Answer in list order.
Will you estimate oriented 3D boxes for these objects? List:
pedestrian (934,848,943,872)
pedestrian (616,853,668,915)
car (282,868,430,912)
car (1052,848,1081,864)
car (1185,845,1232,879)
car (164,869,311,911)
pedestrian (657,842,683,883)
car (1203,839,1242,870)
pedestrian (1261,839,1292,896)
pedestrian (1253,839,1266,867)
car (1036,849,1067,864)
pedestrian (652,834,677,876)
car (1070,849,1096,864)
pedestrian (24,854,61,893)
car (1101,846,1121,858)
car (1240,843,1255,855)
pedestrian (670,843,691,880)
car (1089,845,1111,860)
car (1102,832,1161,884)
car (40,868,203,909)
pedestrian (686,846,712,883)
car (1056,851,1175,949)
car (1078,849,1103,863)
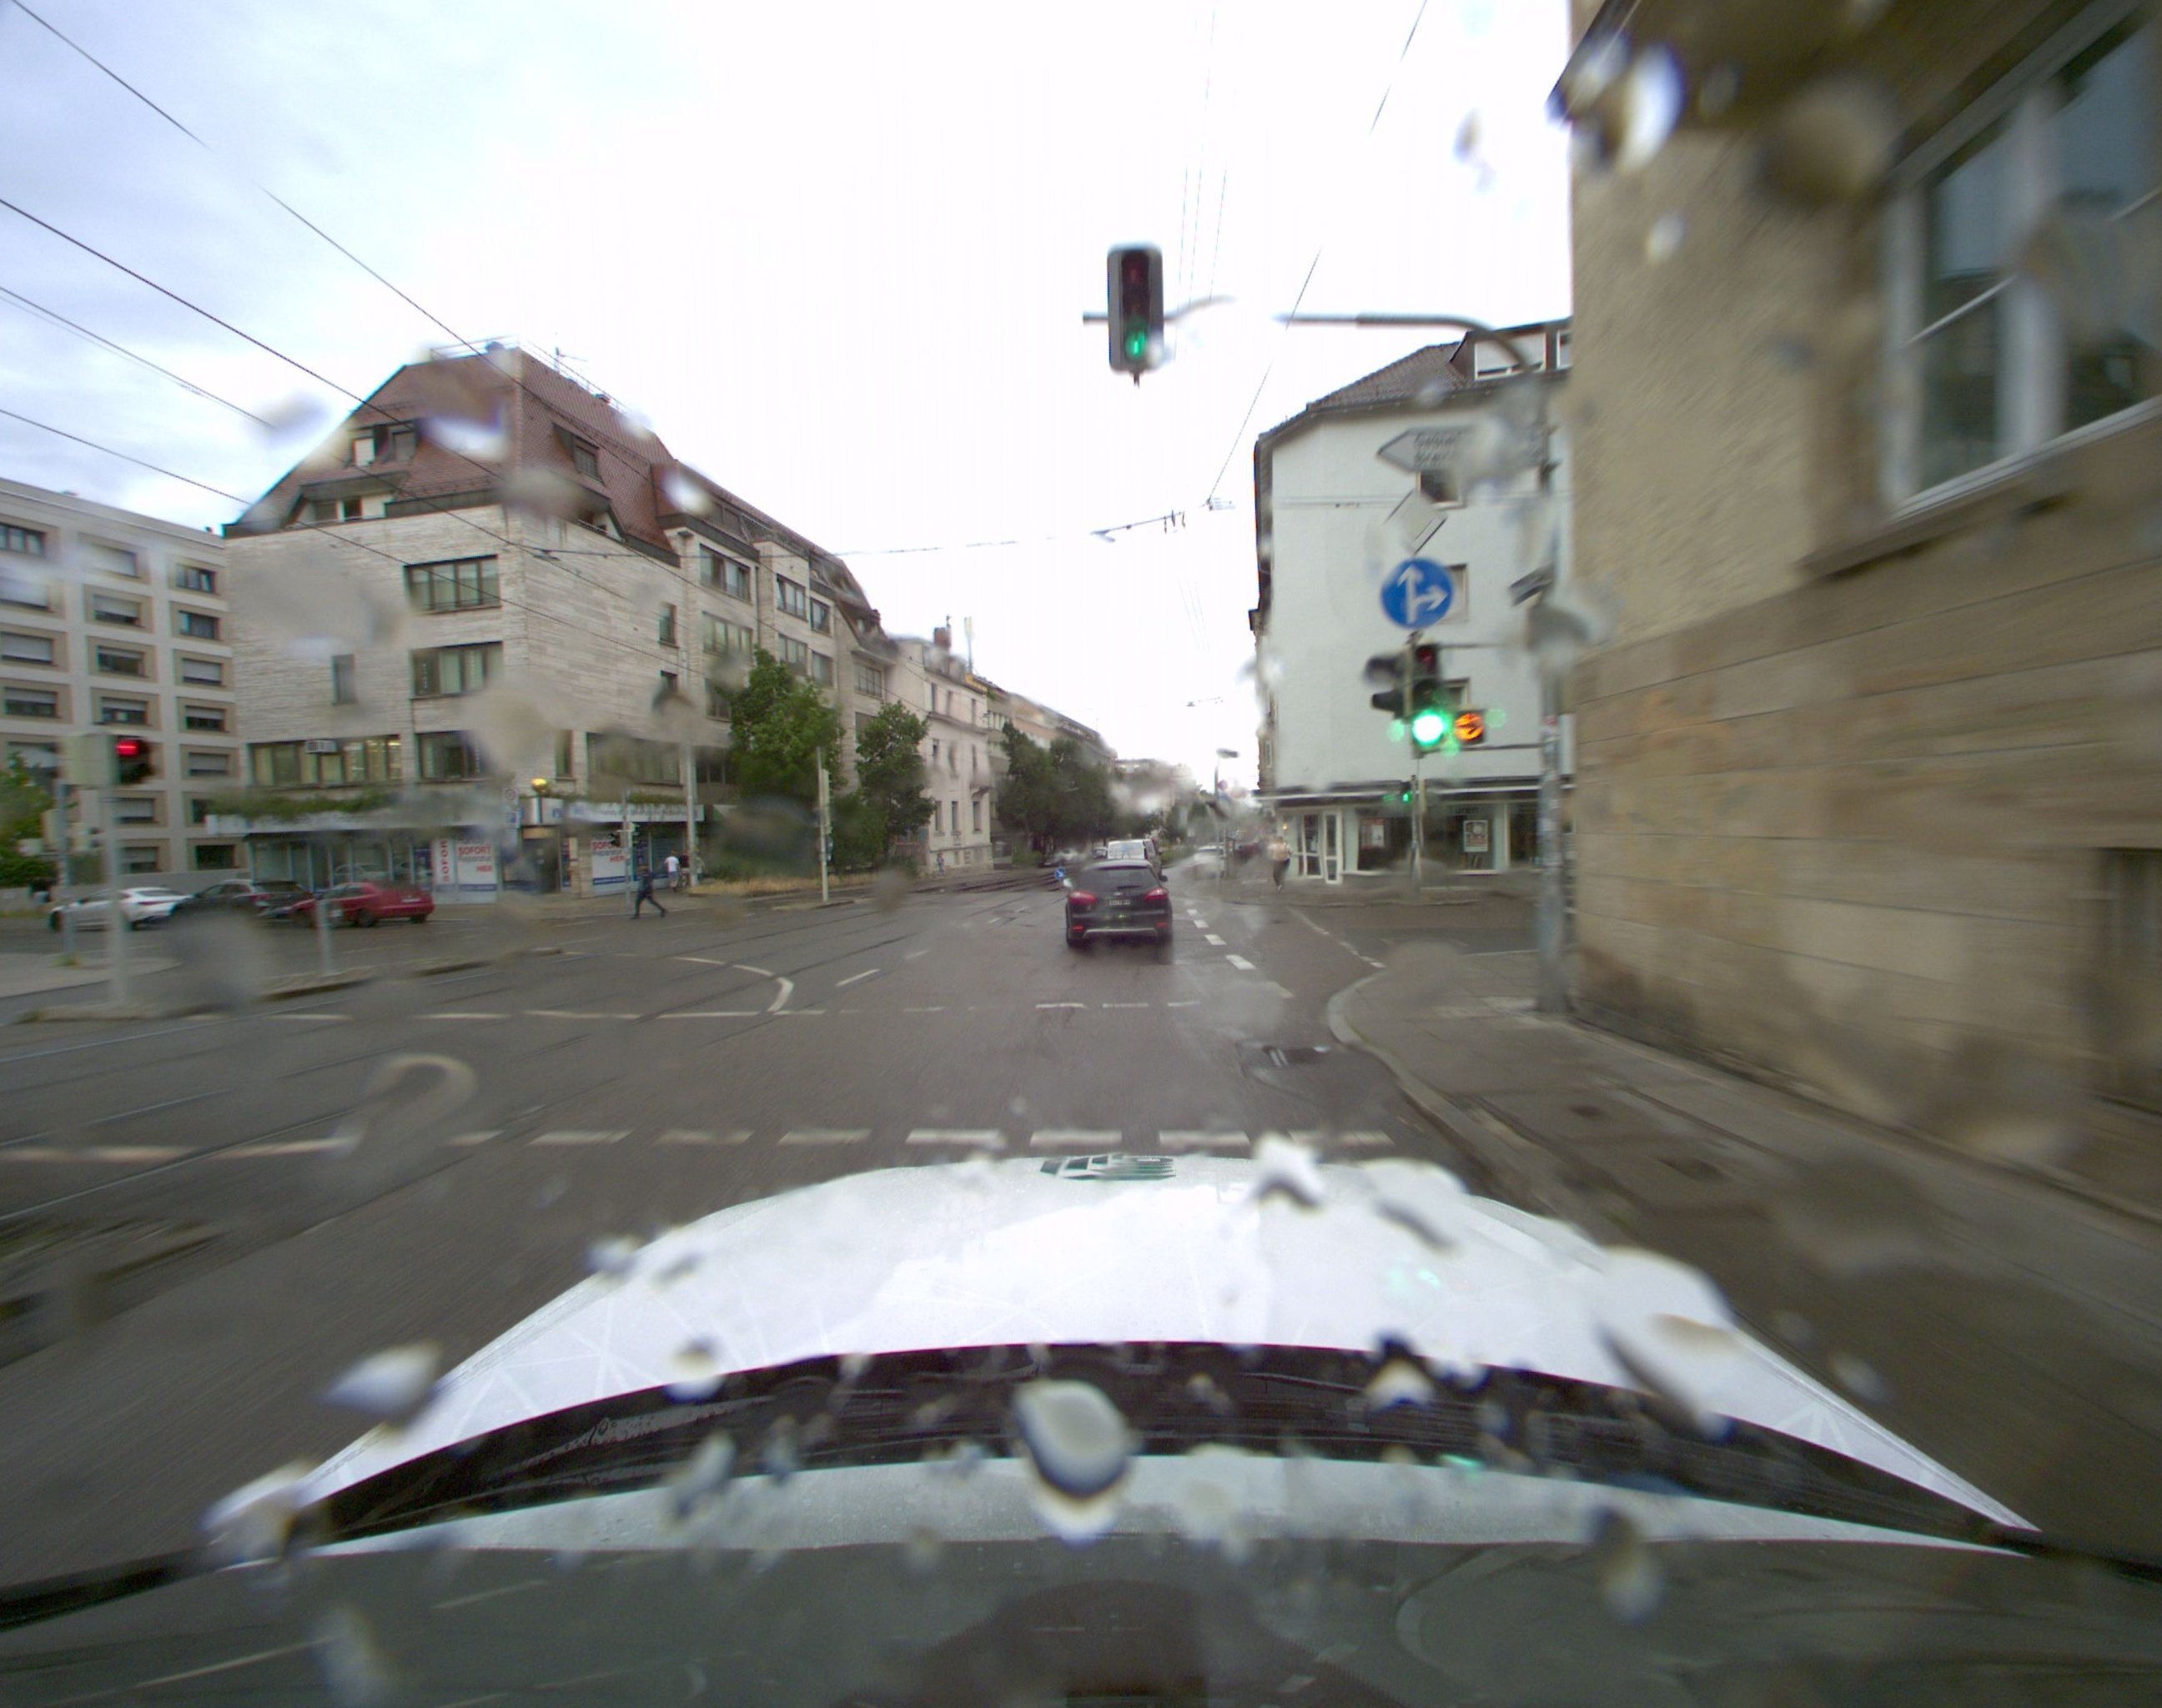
[{"bbox_3d":[-9.625,0.407,55.037,0.466,1.652,0.582,2,-1,1],"label":"pedestrian"},{"bbox_3d":[-13.387,0.910,24.858,0.926,1.830,0.961,2,-1,5],"label":"pedestrian"},{"bbox_3d":[-22.807,1.098,25.662,3.669,1.318,1.599,0,-1,12],"label":"car"},{"bbox_3d":[-1.422,0.250,81.898,1.842,1.548,4.737,0,-1,13],"label":"car"},{"bbox_3d":[5.994,0.380,37.956,1.789,1.455,4.603,-2,-1,13],"label":"car"},{"bbox_3d":[-27.558,1.161,26.638,3.669,1.318,1.599,0,-1,12],"label":"car"},{"bbox_3d":[-17.525,0.375,34.736,0.643,1.724,0.686,2,-1,11],"label":"pedestrian"},{"bbox_3d":[7.843,0.047,44.821,1.832,1.632,4.603,0,-1,13],"label":"car"},{"bbox_3d":[5.560,0.372,23.186,0.685,1.572,0.763,-1,-1,1],"label":"pedestrian"},{"bbox_3d":[11.867,-0.091,54.095,0.698,1.819,0.965,-3,1,13],"label":"pedestrian"},{"bbox_3d":[-2.730,0.273,75.939,1.682,1.377,4.737,0,-1,13],"label":"car"},{"bbox_3d":[-18.785,0.045,36.731,0.675,1.842,0.653,1,-1,26],"label":"pedestrian"},{"bbox_3d":[0.212,0.285,88.224,1.842,1.548,4.447,0,-1,13],"label":"car"},{"bbox_3d":[-42.460,0.798,33.299,0.677,1.549,0.651,2,-1,11],"label":"pedestrian"},{"bbox_3d":[3.896,-0.223,104.615,1.842,1.527,4.060,0,-1,13],"label":"car"},{"bbox_3d":[21.061,-0.659,102.909,1.659,1.421,3.488,-1,0,13],"label":"car"},{"bbox_3d":[-17.446,0.336,35.479,0.500,1.598,0.587,2,-1,11],"label":"pedestrian"},{"bbox_3d":[2.309,-0.168,98.991,1.842,1.701,4.447,0,-1,13],"label":"car"},{"bbox_3d":[2.235,0.123,34.886,1.976,2.060,4.659,-1,1,10],"label":"car"},{"bbox_3d":[-32.380,1.127,27.516,4.457,1.318,1.599,0,-1,12],"label":"car"},{"bbox_3d":[-16.379,0.461,34.936,0.643,1.549,0.686,2,-1,11],"label":"pedestrian"},{"bbox_3d":[0.640,0.747,14.848,1.835,1.507,4.002,-1,-1,3],"label":"car"},{"bbox_3d":[1.124,0.230,93.037,1.842,1.418,4.447,-3,-1,13],"label":"car"}]
